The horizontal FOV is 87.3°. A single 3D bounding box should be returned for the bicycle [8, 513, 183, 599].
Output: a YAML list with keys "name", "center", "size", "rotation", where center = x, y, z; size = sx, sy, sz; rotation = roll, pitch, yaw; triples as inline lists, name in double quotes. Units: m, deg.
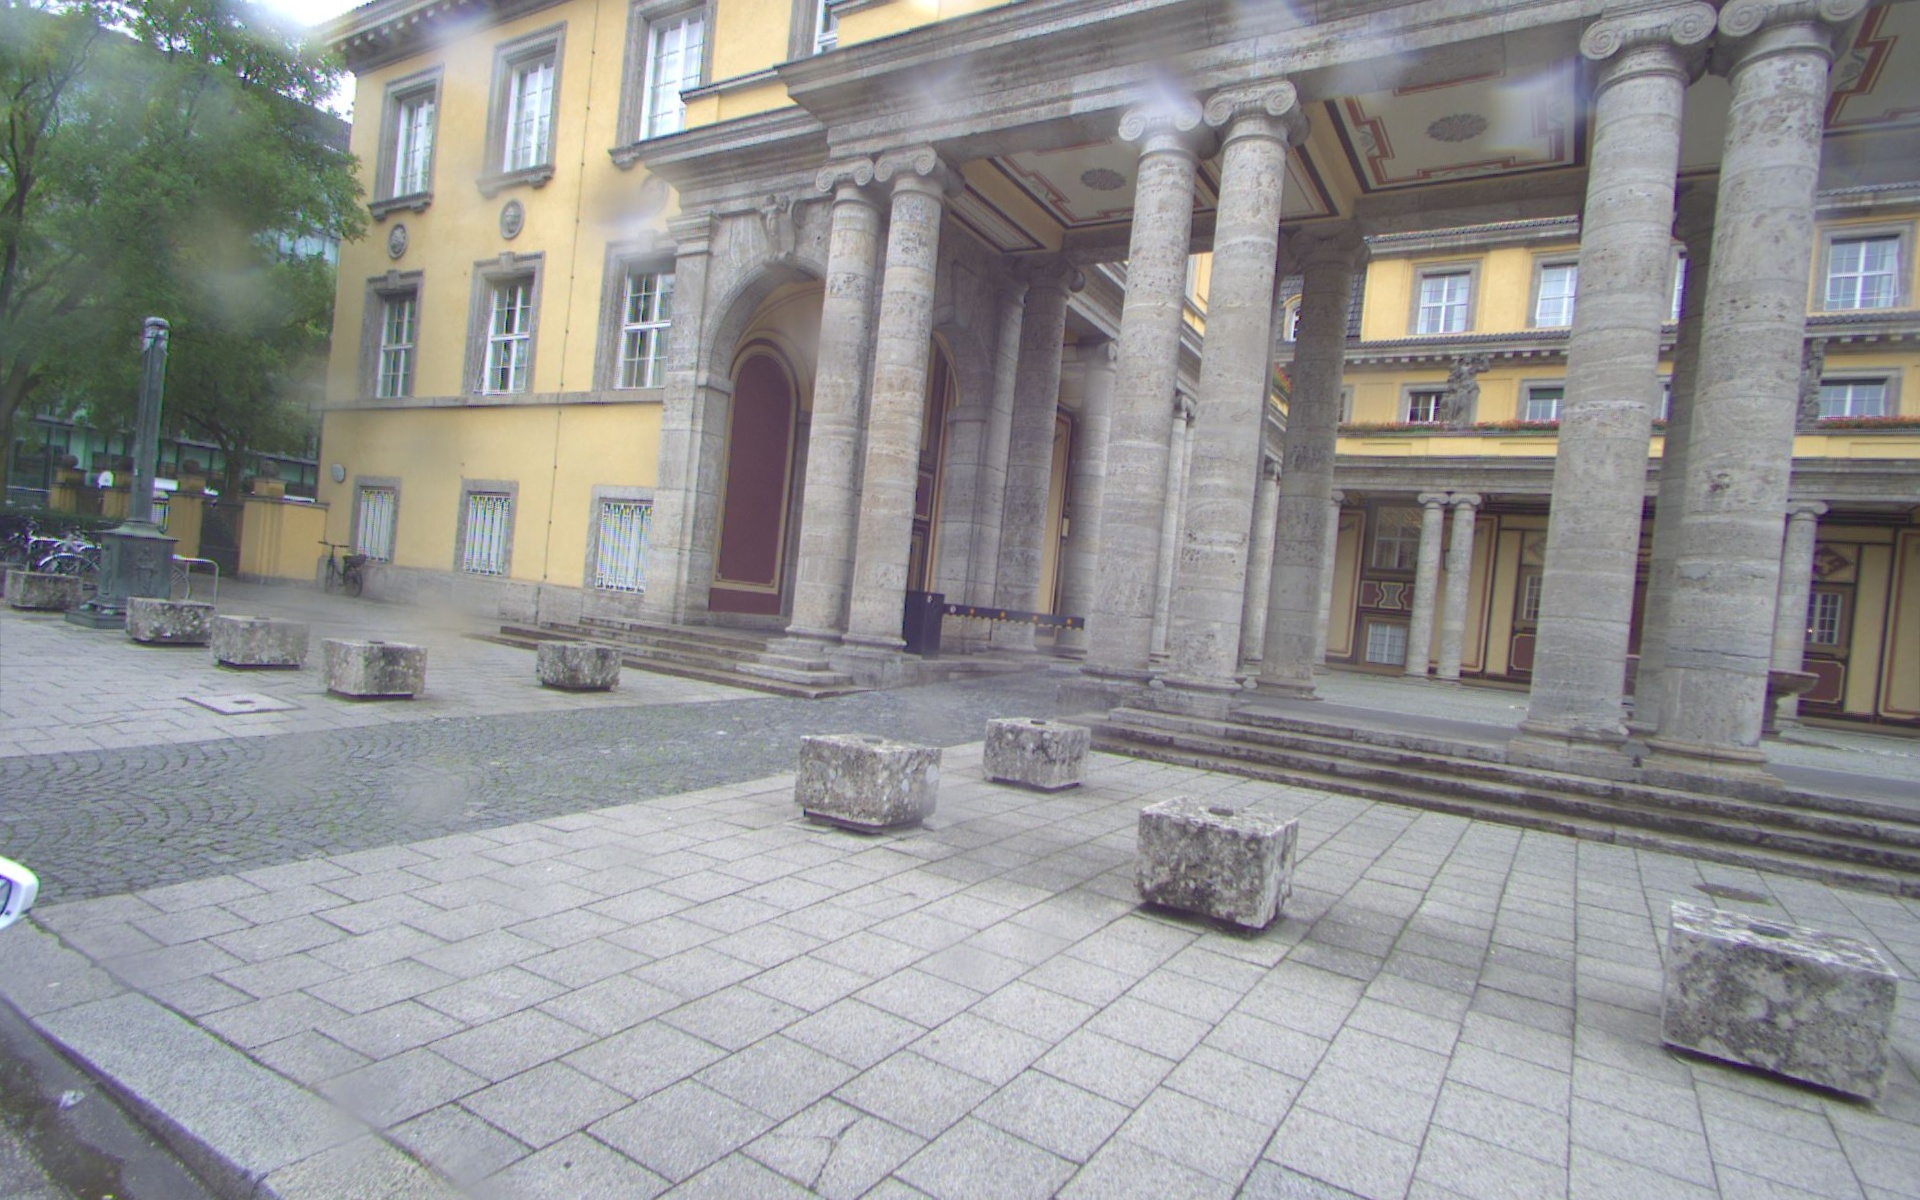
- name: "bicycle"
  center: [-13.154, -0.644, 15.366]
  size: [0.464, 1.128, 1.931]
  rotation: [7, 1, 34]

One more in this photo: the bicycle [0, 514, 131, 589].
- name: "bicycle"
  center: [-15.546, -0.823, 17.264]
  size: [0.464, 1.128, 1.932]
  rotation: [7, 1, 33]

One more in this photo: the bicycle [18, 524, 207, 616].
- name: "bicycle"
  center: [-11.740, -0.386, 14.011]
  size: [0.463, 1.128, 1.934]
  rotation: [6, 1, 29]

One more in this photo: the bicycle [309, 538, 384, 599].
- name: "bicycle"
  center: [-13.738, -0.709, 22.510]
  size: [1.870, 1.169, 0.542]
  rotation: [7, 2, 31]

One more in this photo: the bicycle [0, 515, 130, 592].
- name: "bicycle"
  center: [-15.033, -0.763, 16.622]
  size: [0.464, 1.128, 1.931]
  rotation: [7, 1, 34]

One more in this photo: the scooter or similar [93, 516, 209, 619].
- name: "scooter or similar"
  center: [-10.674, -0.425, 13.302]
  size: [0.996, 1.238, 0.536]
  rotation: [5, 2, -13]
